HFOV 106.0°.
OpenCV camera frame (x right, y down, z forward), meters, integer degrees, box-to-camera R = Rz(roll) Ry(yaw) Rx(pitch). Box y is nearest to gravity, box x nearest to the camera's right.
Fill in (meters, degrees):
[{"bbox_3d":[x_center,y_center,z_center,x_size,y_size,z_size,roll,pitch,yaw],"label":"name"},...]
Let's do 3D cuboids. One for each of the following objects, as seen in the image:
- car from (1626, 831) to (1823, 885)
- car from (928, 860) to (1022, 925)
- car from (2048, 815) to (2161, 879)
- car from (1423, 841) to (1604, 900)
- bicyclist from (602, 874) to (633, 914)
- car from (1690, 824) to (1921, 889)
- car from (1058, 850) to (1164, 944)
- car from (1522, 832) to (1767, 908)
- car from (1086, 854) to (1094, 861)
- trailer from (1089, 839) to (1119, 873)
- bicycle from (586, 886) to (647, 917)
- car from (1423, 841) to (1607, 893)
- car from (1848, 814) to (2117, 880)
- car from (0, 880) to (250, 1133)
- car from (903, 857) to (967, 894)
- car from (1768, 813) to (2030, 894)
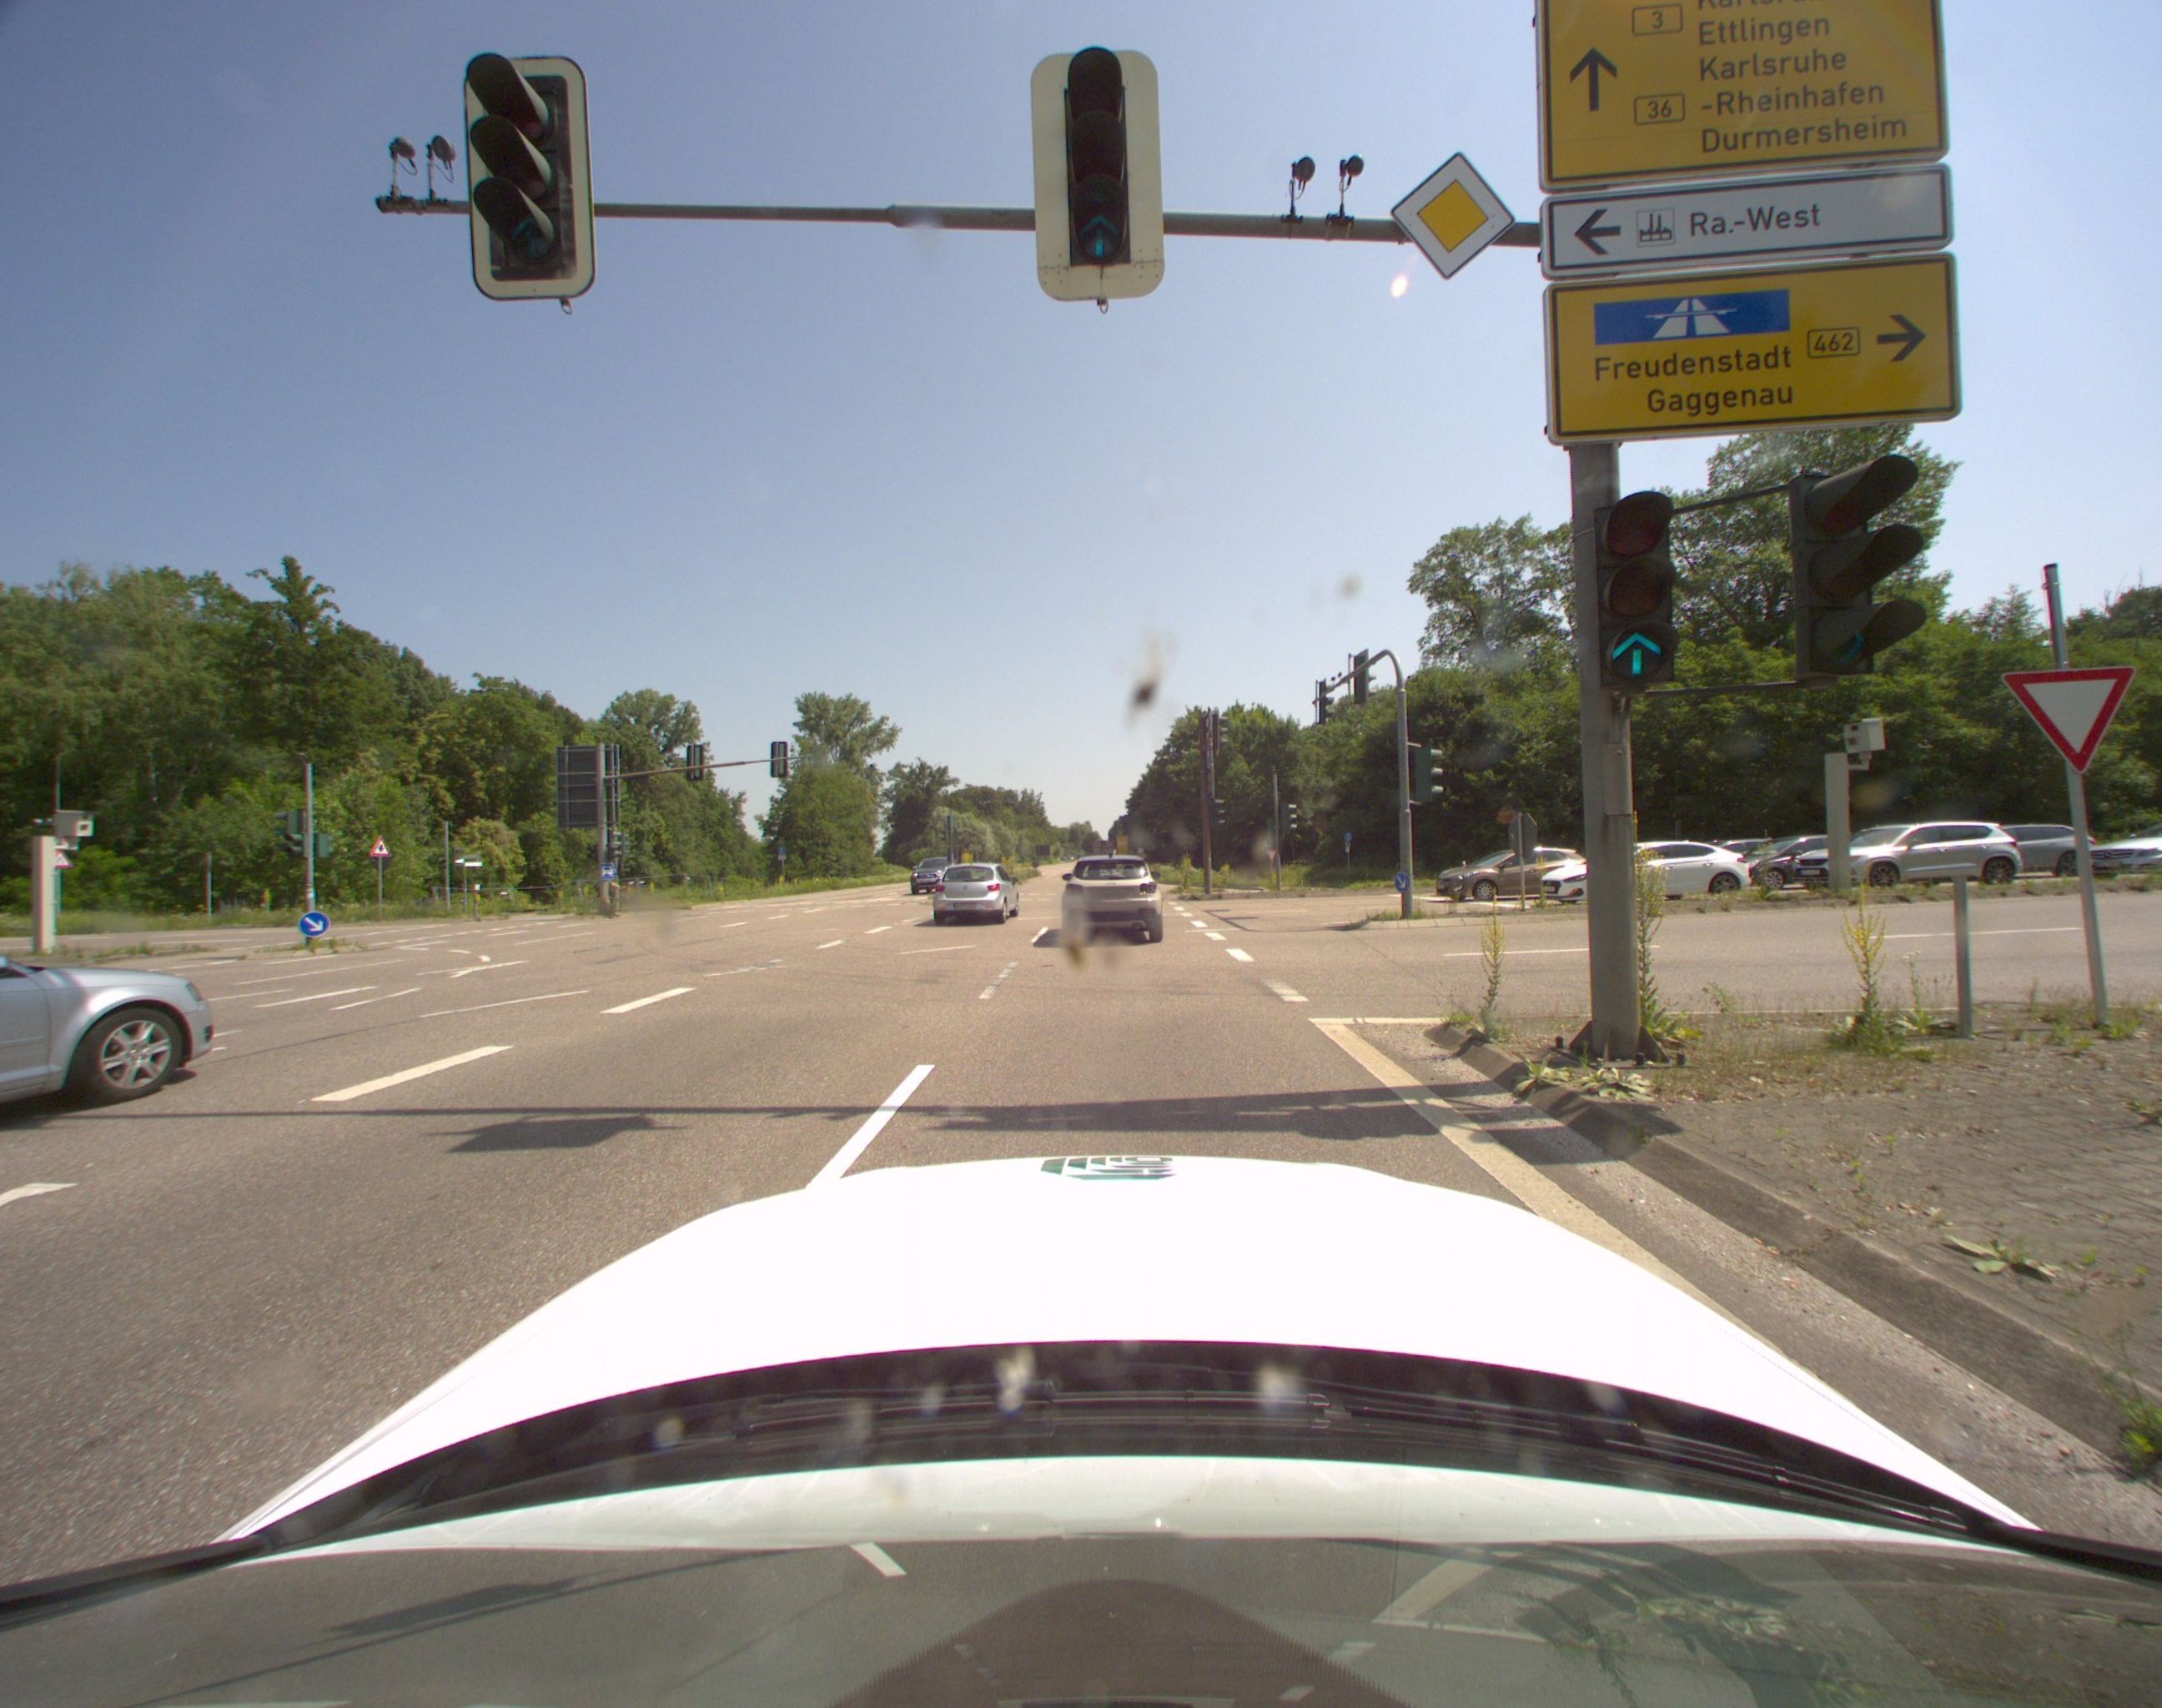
[{"bbox_3d":[20.562,0.147,26.207,4.599,1.498,2.113,-2,-1,2],"label":"car"},{"bbox_3d":[-2.518,0.877,20.220,1.659,1.430,3.831,0,0,3],"label":"car"},{"bbox_3d":[26.159,-0.235,19.161,4.314,1.414,1.975,-3,-1,2],"label":"car"},{"bbox_3d":[12.218,0.460,23.208,4.079,1.447,1.995,-2,0,-1],"label":"car"},{"bbox_3d":[-17.887,1.535,31.424,0.914,1.459,0.721,-3,-1,39],"label":"bicyclist"},{"bbox_3d":[19.867,0.096,22.514,4.403,1.535,2.123,-2,-1,1],"label":"car"},{"bbox_3d":[0.599,0.732,15.671,1.760,1.535,4.003,-1,0,3],"label":"car"},{"bbox_3d":[13.226,0.360,19.330,4.405,1.535,2.000,-2,0,0],"label":"car"},{"bbox_3d":[2.374,0.929,222.444,1.988,2.013,4.552,-2,0,-1],"label":"car"},{"bbox_3d":[2.935,0.285,100.573,3.368,3.989,10.814,0,-1,4],"label":"trailer"},{"bbox_3d":[-17.905,1.817,31.426,0.715,1.063,1.881,-3,-1,39],"label":"bicycle"},{"bbox_3d":[14.131,0.433,26.753,4.912,1.498,2.021,-2,-1,2],"label":"car"},{"bbox_3d":[25.378,-0.163,23.095,5.109,1.534,2.139,-3,-1,2],"label":"car"},{"bbox_3d":[-6.986,0.890,4.003,1.760,1.391,4.011,0,0,-2],"label":"car"},{"bbox_3d":[-7.445,1.051,42.104,1.985,1.678,5.369,-3,0,3],"label":"car"},{"bbox_3d":[19.379,-0.006,19.459,4.156,1.659,2.001,-2,0,2],"label":"car"}]
